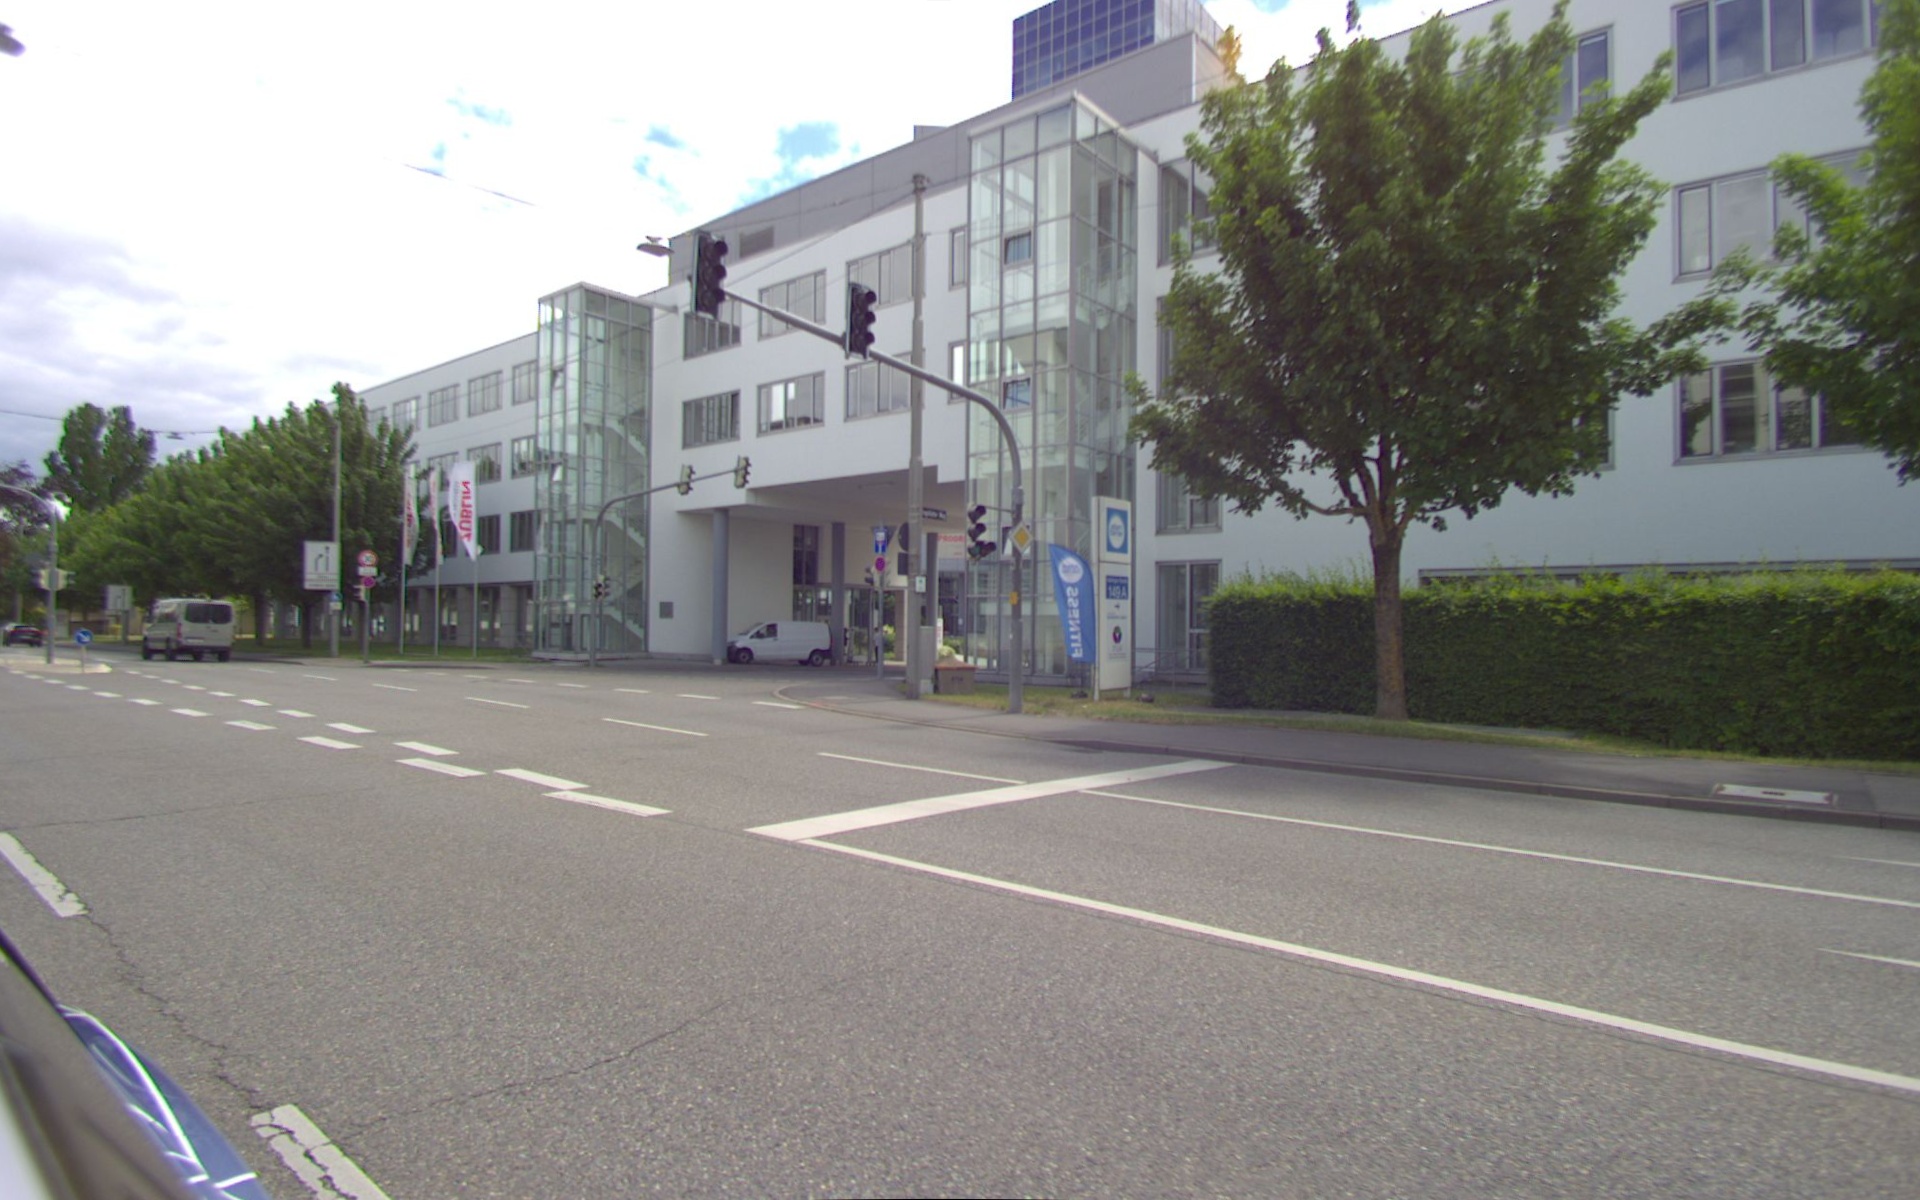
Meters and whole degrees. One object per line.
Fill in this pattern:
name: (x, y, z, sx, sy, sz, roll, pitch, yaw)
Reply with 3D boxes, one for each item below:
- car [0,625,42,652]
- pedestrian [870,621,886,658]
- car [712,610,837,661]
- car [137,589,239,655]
car: (-60.723, 2.480, 65.220, 4.540, 1.564, 1.864, 0, -2, 43)
pedestrian: (-3.769, 1.800, 46.606, 0.486, 1.674, 0.506, 0, 1, 36)
car: (-7.897, 1.512, 43.167, 4.751, 1.882, 2.091, 4, -1, -26)
car: (-31.663, 0.913, 41.432, 6.071, 2.490, 2.120, -1, -3, 42)
